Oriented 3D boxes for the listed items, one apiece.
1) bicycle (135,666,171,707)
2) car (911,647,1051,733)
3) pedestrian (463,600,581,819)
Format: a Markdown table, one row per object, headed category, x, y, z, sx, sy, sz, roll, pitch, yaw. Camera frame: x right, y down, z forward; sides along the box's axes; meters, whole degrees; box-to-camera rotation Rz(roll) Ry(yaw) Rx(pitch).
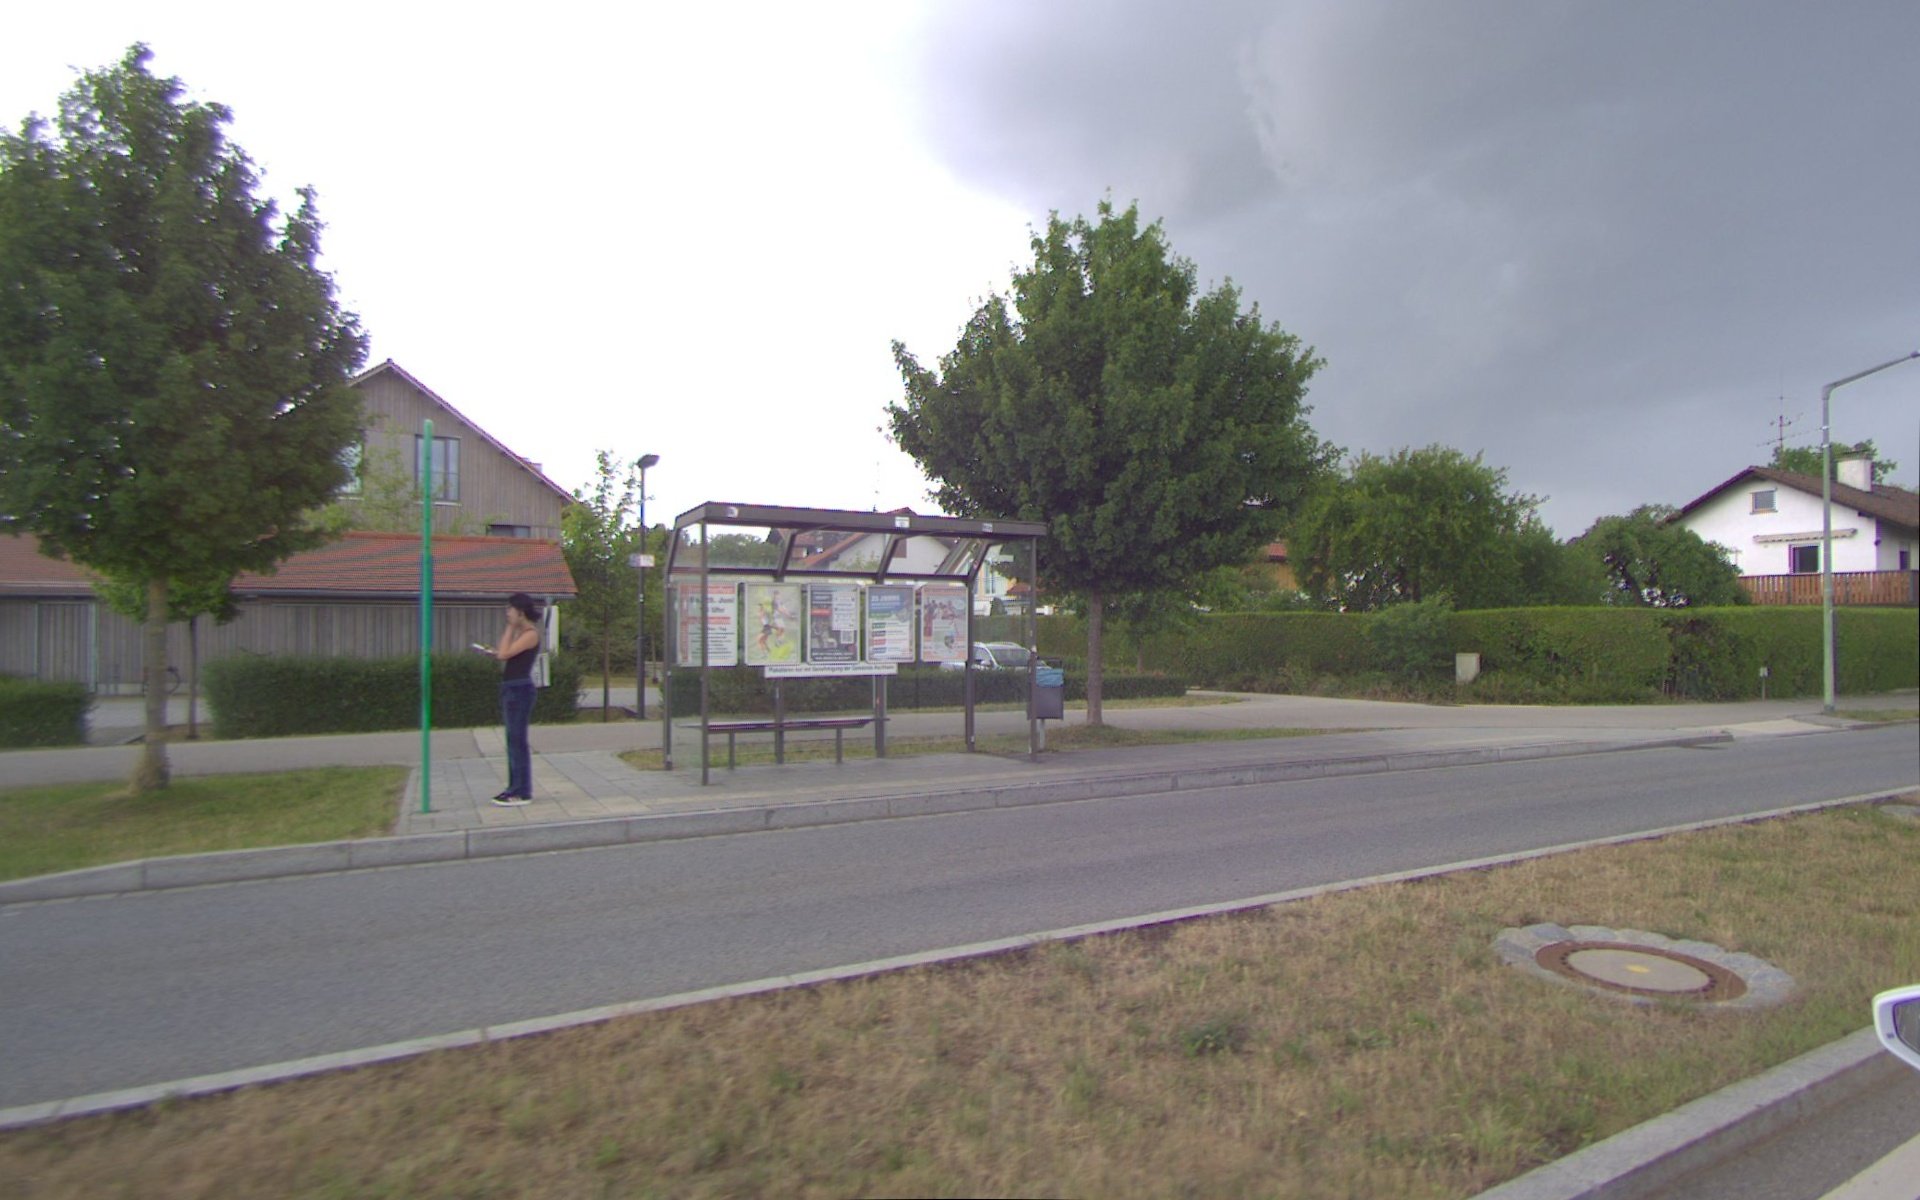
| category | x | y | z | sx | sy | sz | roll | pitch | yaw |
| --- | --- | --- | --- | --- | --- | --- | --- | --- | --- |
| bicycle | -20.238 | 2.144 | 25.212 | 0.414 | 0.921 | 1.932 | 1 | -2 | -31 |
| car | 0.494 | 2.327 | 27.089 | 1.977 | 2.040 | 3.967 | 1 | -2 | -31 |
| pedestrian | -3.527 | 0.843 | 8.083 | 0.803 | 1.658 | 0.585 | 1 | -2 | -30 |
